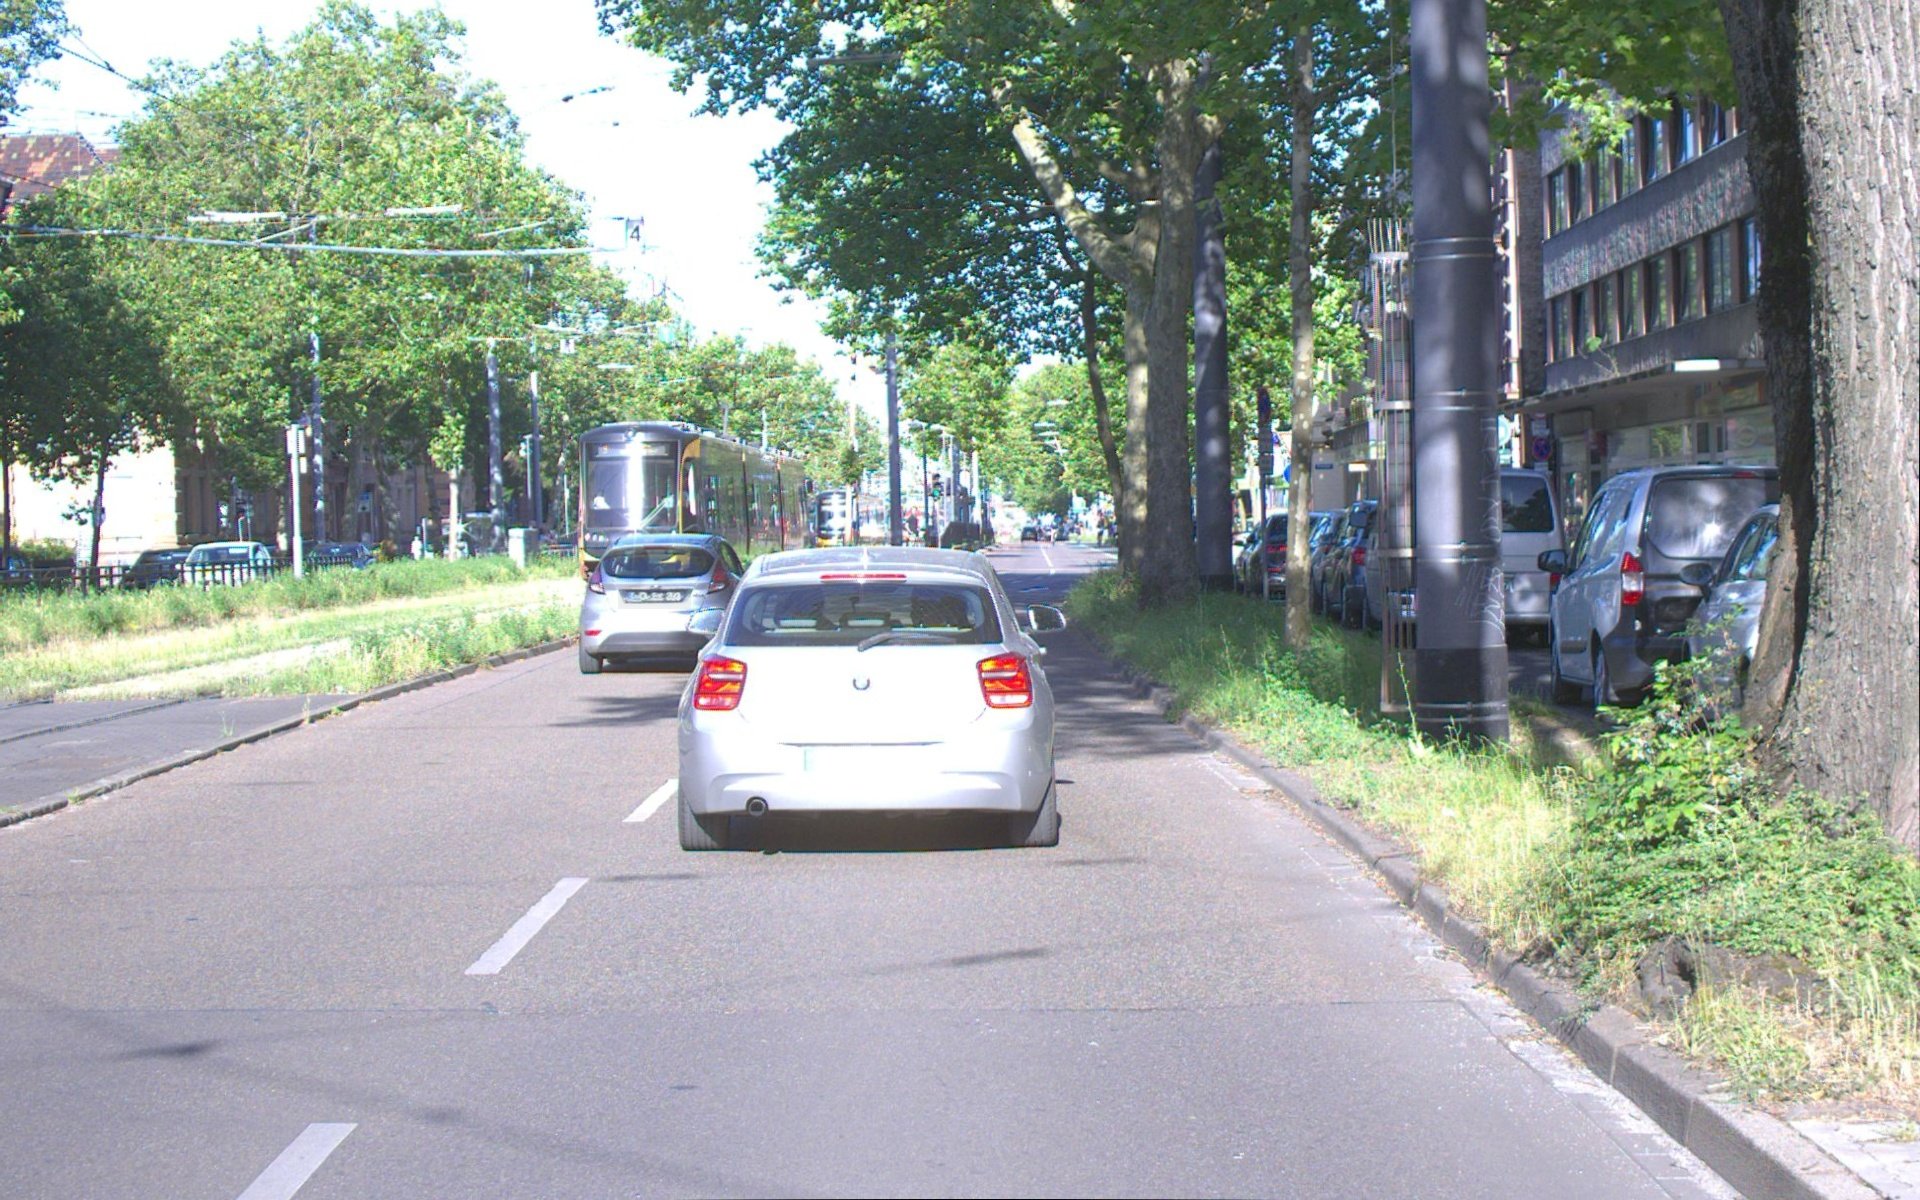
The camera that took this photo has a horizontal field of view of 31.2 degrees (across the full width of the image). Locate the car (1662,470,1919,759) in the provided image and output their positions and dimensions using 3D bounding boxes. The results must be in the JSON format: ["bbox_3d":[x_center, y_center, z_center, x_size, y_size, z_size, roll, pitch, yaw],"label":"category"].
[{"bbox_3d":[4.999,0.016,19.552,1.512,1.475,3.491,1,2,4],"label":"car"}]

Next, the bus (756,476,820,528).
[{"bbox_3d":[-12.614,-7.347,254.451,2.869,3.616,24.605,-1,2,2],"label":"bus"}]

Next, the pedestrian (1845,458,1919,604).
[{"bbox_3d":[11.798,-0.875,43.597,0.999,1.833,0.715,0,1,3],"label":"pedestrian"}]

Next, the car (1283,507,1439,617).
[{"bbox_3d":[5.656,-0.576,48.930,1.677,1.461,4.670,1,2,0],"label":"car"}]

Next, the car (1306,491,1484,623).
[{"bbox_3d":[5.296,-0.570,42.318,1.704,1.497,4.358,1,2,1],"label":"car"}]

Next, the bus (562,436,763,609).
[{"bbox_3d":[-6.292,-1.715,74.912,2.869,3.432,13.217,0,2,2],"label":"bus"}]

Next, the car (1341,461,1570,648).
[{"bbox_3d":[5.158,-0.545,36.348,1.865,1.809,4.800,1,2,2],"label":"car"}]

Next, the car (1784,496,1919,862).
[{"bbox_3d":[4.825,0.313,15.297,1.562,1.480,3.787,1,2,3],"label":"car"}]

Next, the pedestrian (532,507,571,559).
[{"bbox_3d":[-13.084,-2.152,110.141,1.176,1.638,0.893,-1,1,-6],"label":"pedestrian"}]

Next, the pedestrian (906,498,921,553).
[{"bbox_3d":[-1.598,-2.548,117.552,0.450,1.896,0.585,0,1,-6],"label":"pedestrian"}]

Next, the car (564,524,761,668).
[{"bbox_3d":[-3.118,-0.081,36.650,1.647,1.358,3.760,1,2,2],"label":"car"}]

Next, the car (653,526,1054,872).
[{"bbox_3d":[-0.453,0.397,17.270,1.762,1.427,4.001,1,2,1],"label":"car"}]

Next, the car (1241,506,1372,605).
[{"bbox_3d":[5.532,-0.757,55.418,1.806,1.484,4.919,1,2,3],"label":"car"}]

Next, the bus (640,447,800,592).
[{"bbox_3d":[-5.964,-2.074,87.571,2.869,3.432,12.215,0,2,2],"label":"bus"}]

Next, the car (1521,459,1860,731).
[{"bbox_3d":[4.874,-0.115,23.437,1.625,1.662,4.141,1,2,3],"label":"car"}]

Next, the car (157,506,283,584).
[{"bbox_3d":[-15.497,-1.177,72.123,1.844,1.524,3.875,1,2,-1],"label":"car"}]
